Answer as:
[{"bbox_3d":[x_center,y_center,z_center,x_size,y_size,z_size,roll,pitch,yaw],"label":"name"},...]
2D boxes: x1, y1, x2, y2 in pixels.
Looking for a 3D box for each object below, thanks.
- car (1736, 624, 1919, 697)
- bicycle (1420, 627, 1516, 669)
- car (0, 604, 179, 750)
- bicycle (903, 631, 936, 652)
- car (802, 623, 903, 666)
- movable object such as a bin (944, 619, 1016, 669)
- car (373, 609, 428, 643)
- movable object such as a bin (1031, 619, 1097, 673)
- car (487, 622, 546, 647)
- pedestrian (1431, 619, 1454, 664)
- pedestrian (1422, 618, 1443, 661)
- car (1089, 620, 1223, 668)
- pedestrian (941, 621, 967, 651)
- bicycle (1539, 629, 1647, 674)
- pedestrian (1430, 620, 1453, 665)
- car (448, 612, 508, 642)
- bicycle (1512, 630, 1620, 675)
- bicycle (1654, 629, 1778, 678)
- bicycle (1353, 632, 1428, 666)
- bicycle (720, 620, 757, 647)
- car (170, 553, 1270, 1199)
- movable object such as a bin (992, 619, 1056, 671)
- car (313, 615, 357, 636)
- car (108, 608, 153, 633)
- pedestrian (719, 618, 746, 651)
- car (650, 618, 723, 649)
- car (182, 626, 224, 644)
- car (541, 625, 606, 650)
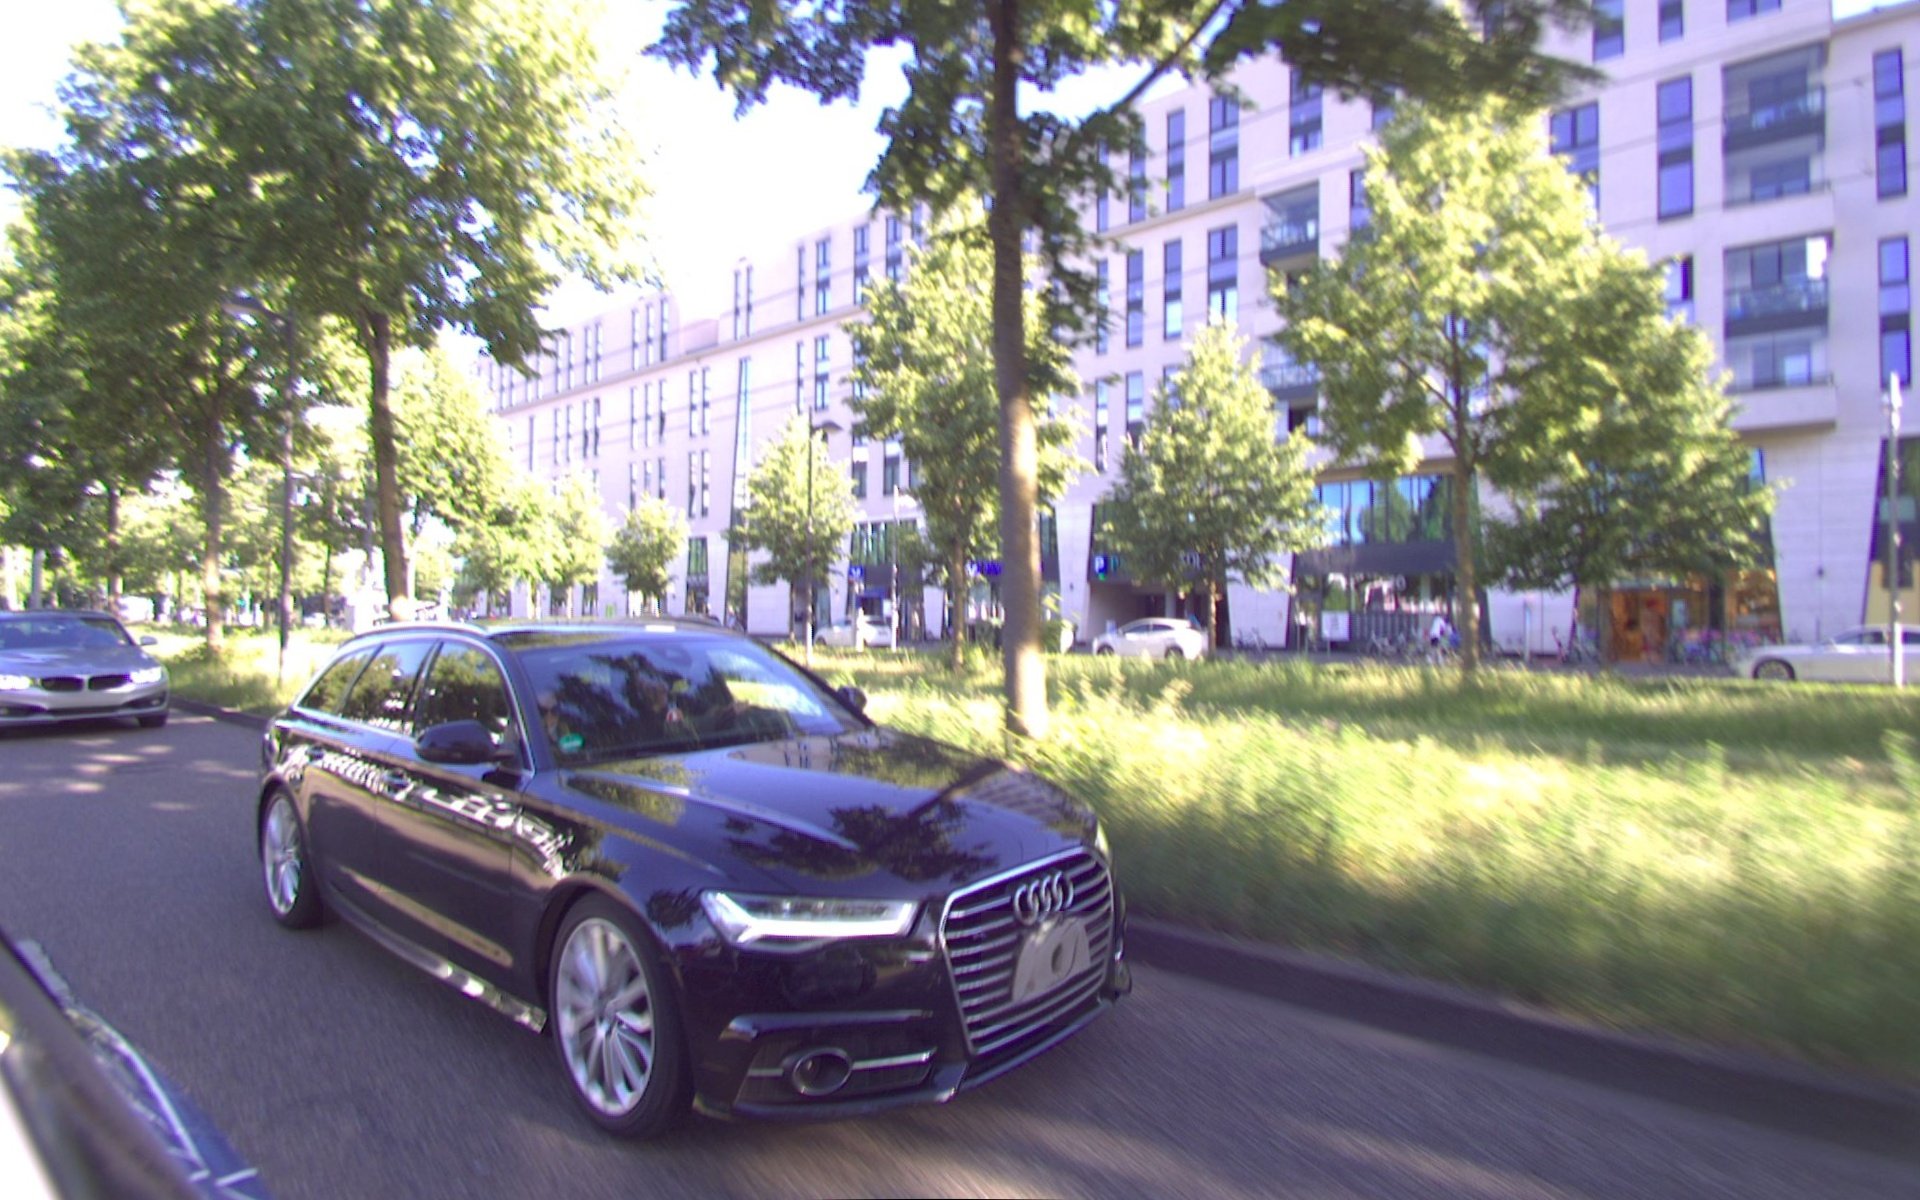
[{"bbox_3d":[20.423,1.312,22.554,4.920,1.452,1.974,-1,0,39],"label":"car"},{"bbox_3d":[17.289,1.605,34.524,0.935,1.290,2.775,-1,0,-41],"label":"bicycle"},{"bbox_3d":[-11.788,0.868,13.132,4.276,1.590,1.862,-1,0,42],"label":"car"},{"bbox_3d":[-2.086,2.109,51.658,1.848,0.960,0.573,-1,0,43],"label":"bicycle"},{"bbox_3d":[-4.790,1.921,44.910,4.334,1.742,1.974,-1,0,39],"label":"car"},{"bbox_3d":[0.785,1.667,39.118,2.008,1.808,1.951,-1,0,39],"label":"movable object such as a bin"},{"bbox_3d":[-35.336,1.607,63.866,4.001,2.029,1.971,-1,0,44],"label":"car"},{"bbox_3d":[3.775,1.639,36.680,1.554,1.808,1.950,-1,0,39],"label":"movable object such as a bin"},{"bbox_3d":[-29.058,2.237,66.234,3.996,1.584,1.974,-1,-2,40],"label":"car"},{"bbox_3d":[17.125,1.477,35.931,0.494,1.561,0.522,-1,0,-7],"label":"pedestrian"},{"bbox_3d":[17.575,1.465,37.651,0.495,1.561,0.522,-1,0,0],"label":"pedestrian"},{"bbox_3d":[6.635,1.438,34.383,4.015,1.452,1.974,-1,0,39],"label":"car"},{"bbox_3d":[-0.314,1.868,52.608,1.024,1.479,0.939,-1,0,32],"label":"pedestrian"},{"bbox_3d":[20.237,1.613,32.412,0.935,1.290,2.775,-1,0,-41],"label":"bicycle"},{"bbox_3d":[16.882,1.482,35.493,0.494,1.561,0.522,-1,0,-7],"label":"pedestrian"},{"bbox_3d":[-33.189,1.866,69.658,4.549,2.029,1.974,-1,-2,39],"label":"car"},{"bbox_3d":[19.124,1.628,32.002,0.935,1.290,2.775,-1,0,-41],"label":"bicycle"},{"bbox_3d":[22.190,1.548,29.770,0.935,1.290,2.775,-1,0,-41],"label":"bicycle"},{"bbox_3d":[15.375,1.731,36.205,2.369,1.145,0.859,-1,0,32],"label":"bicycle"},{"bbox_3d":[-13.440,2.004,61.390,3.034,1.557,0.611,-1,0,44],"label":"bicycle"},{"bbox_3d":[-1.509,0.746,4.350,5.080,1.492,1.933,-2,-2,40],"label":"car"},{"bbox_3d":[2.406,1.652,37.850,1.554,1.808,1.950,-1,0,39],"label":"movable object such as a bin"},{"bbox_3d":[-57.340,2.278,92.826,4.416,1.822,2.079,-1,0,39],"label":"car"},{"bbox_3d":[-83.485,2.059,101.847,6.024,2.399,2.480,-1,0,40],"label":"car"},{"bbox_3d":[-12.290,1.850,54.694,1.222,1.756,0.834,-1,0,42],"label":"pedestrian"},{"bbox_3d":[-14.263,1.720,52.658,4.268,1.491,1.542,-1,-1,41],"label":"car"},{"bbox_3d":[-64.887,2.969,86.738,4.454,1.452,1.973,-1,0,41],"label":"car"},{"bbox_3d":[-23.345,2.228,61.070,4.331,1.424,1.706,-1,-2,38],"label":"car"}]
